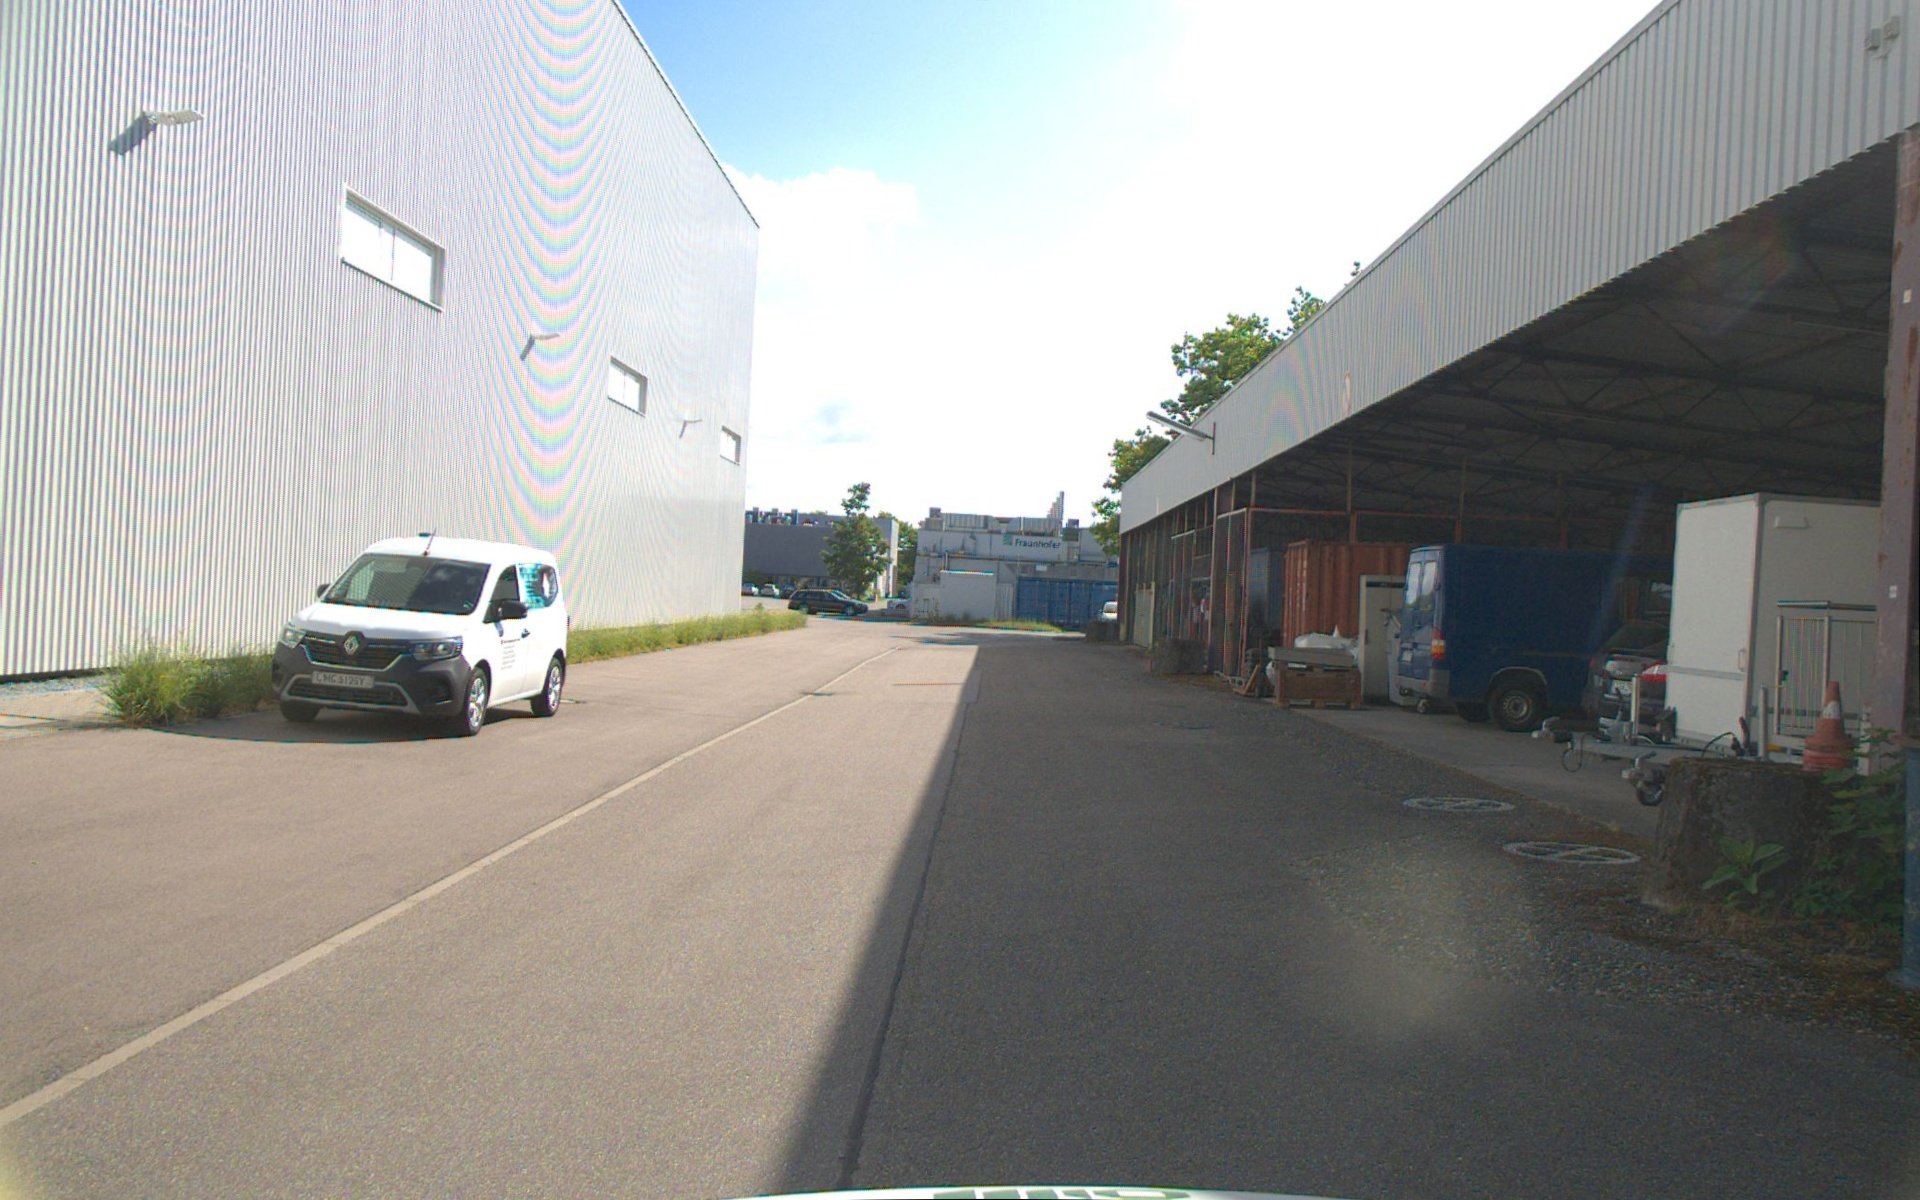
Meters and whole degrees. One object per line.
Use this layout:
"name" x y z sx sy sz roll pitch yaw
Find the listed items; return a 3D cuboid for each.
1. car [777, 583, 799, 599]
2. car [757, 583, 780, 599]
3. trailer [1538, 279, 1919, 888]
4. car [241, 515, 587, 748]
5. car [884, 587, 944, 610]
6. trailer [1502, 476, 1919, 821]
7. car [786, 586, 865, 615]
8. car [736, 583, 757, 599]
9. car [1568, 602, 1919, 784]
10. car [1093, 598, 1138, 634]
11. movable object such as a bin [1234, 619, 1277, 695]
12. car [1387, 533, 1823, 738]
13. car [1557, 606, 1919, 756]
"car" -20.236 -1.042 194.369 2.148 1.766 4.000 1 0 0
"car" -22.711 -1.041 196.108 2.148 1.766 4.000 1 0 0
"trailer" 9.066 0.042 10.353 9.831 3.272 2.854 2 0 1
"car" -5.239 0.269 16.562 1.852 1.877 4.358 5 0 0
"car" -3.492 -0.112 126.341 4.432 1.534 1.909 2 0 2
"trailer" 6.890 0.378 12.920 4.711 2.433 1.828 2 0 6
"car" -8.028 0.021 98.789 4.432 1.534 1.909 2 0 3
"car" -25.250 -1.051 195.793 1.952 1.766 4.000 1 0 0
"car" 8.179 0.856 15.548 4.241 1.522 1.777 2 0 -2
"car" 8.045 0.823 85.845 1.953 1.613 4.173 2 2 0
"movable object such as a bin" 4.885 0.927 27.360 0.569 1.185 1.239 2 0 5
"car" 8.302 0.439 21.641 4.876 2.366 2.000 2 0 1
"car" 9.028 0.884 18.668 3.908 1.498 1.787 2 0 -4
